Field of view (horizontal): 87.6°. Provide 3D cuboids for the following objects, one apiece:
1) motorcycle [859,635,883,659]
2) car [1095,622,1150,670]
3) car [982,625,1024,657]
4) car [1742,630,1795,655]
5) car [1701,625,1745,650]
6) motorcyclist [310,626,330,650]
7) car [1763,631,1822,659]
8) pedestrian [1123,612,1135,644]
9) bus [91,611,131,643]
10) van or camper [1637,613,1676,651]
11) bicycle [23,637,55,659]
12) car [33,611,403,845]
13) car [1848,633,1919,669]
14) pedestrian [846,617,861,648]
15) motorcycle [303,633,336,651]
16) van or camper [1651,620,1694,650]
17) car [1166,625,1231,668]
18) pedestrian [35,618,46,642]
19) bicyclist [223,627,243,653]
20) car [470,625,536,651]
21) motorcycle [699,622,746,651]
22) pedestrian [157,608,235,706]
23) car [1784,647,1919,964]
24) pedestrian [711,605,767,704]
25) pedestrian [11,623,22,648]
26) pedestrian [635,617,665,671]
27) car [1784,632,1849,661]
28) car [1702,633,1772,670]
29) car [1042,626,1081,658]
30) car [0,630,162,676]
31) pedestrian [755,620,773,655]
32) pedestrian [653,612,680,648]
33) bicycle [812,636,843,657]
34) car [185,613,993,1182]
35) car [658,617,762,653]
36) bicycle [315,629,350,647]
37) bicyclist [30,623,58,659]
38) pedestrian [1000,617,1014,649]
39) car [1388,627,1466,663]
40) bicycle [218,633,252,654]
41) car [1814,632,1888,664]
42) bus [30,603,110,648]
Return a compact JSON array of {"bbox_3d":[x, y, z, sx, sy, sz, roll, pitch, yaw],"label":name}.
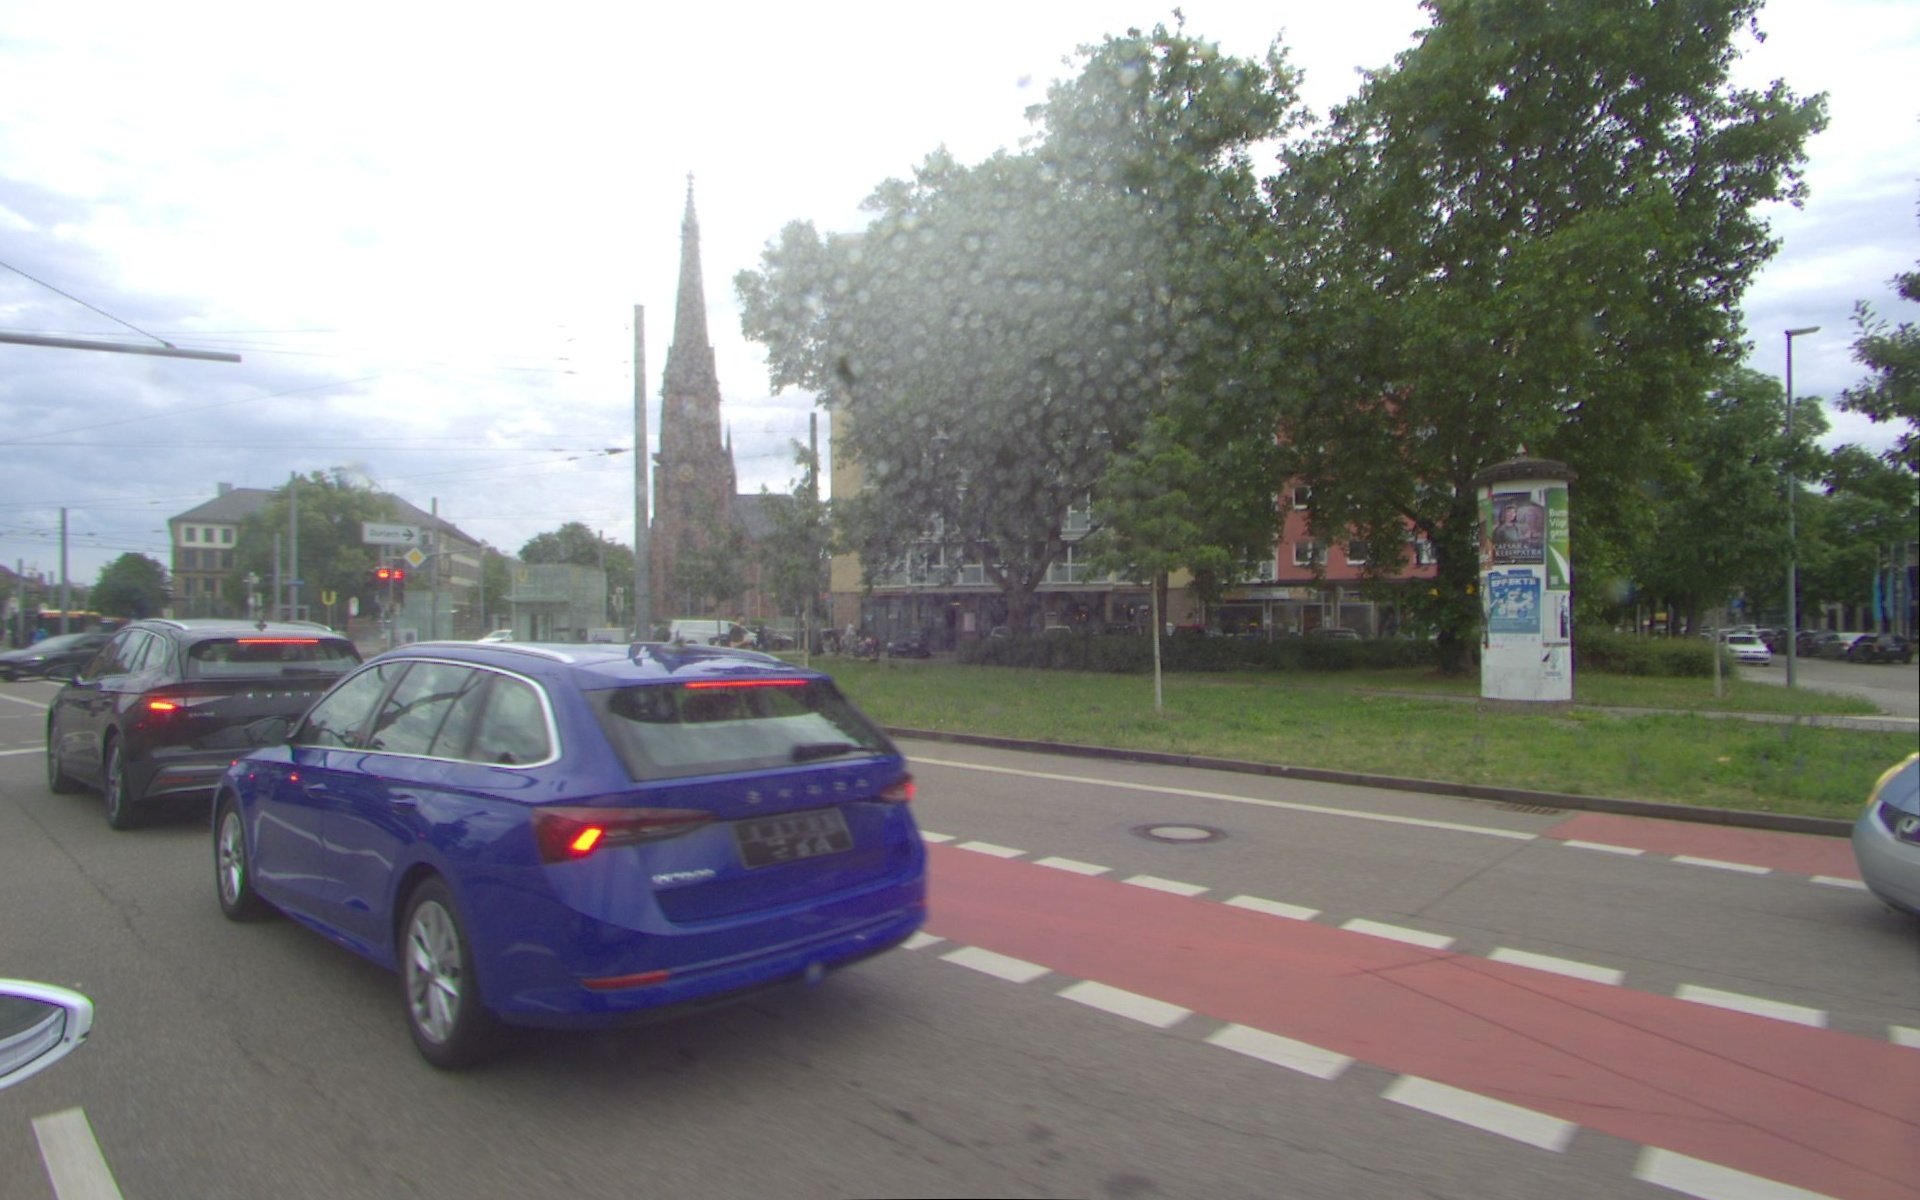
[{"bbox_3d":[-3.881,2.050,43.683,0.857,1.010,1.015,0,-1,4],"label":"motorcycle"},{"bbox_3d":[6.241,1.750,38.934,1.825,1.744,4.477,0,-2,6],"label":"car"},{"bbox_3d":[2.154,2.013,49.396,1.825,1.508,4.477,0,-2,6],"label":"car"},{"bbox_3d":[55.630,2.887,68.952,1.831,1.644,4.461,-2,-2,26],"label":"car"},{"bbox_3d":[64.604,3.177,84.884,1.991,2.011,4.767,-2,-2,26],"label":"car"},{"bbox_3d":[-43.975,2.602,68.818,0.735,1.671,0.980,-1,-1,9],"label":"motorcyclist"},{"bbox_3d":[53.536,2.877,64.486,1.831,1.644,4.461,-2,-2,26],"label":"car"},{"bbox_3d":[8.860,1.480,52.454,0.625,1.659,0.872,0,-1,9],"label":"pedestrian"},{"bbox_3d":[-93.202,2.936,110.063,2.630,3.325,10.914,0,-1,-37],"label":"bus"},{"bbox_3d":[52.968,2.440,76.216,1.969,2.808,3.984,0,-1,29],"label":"van or camper"},{"bbox_3d":[-48.065,2.510,52.253,2.272,1.119,0.863,-1,-2,37],"label":"bicycle"},{"bbox_3d":[-6.855,0.945,9.060,4.458,1.617,1.769,-1,-2,41],"label":"car"},{"bbox_3d":[46.493,2.516,50.168,1.831,1.644,4.461,-2,-2,26],"label":"car"},{"bbox_3d":[-5.798,1.780,54.475,0.625,1.659,0.787,0,-1,8],"label":"pedestrian"},{"bbox_3d":[-43.968,2.866,68.764,0.730,1.153,2.141,0,-1,9],"label":"motorcycle"},{"bbox_3d":[50.445,2.439,70.961,1.969,2.039,3.984,-1,-1,29],"label":"van or camper"},{"bbox_3d":[9.146,1.766,38.675,1.825,1.567,4.477,0,-2,6],"label":"car"},{"bbox_3d":[-75.347,2.488,82.069,0.616,1.943,0.693,0,-1,-39],"label":"pedestrian"},{"bbox_3d":[-46.923,2.589,64.657,0.643,1.694,0.855,0,-1,22],"label":"bicyclist"},{"bbox_3d":[-28.307,2.340,62.136,1.741,1.482,4.000,-2,-2,10],"label":"car"},{"bbox_3d":[-10.033,1.533,42.446,0.754,1.183,2.382,0,-2,20],"label":"motorcycle"},{"bbox_3d":[-15.440,1.138,20.269,0.721,1.931,1.105,0,-1,-1],"label":"pedestrian"},{"bbox_3d":[6.564,0.980,4.519,4.020,1.486,1.754,0,-1,12],"label":"car"},{"bbox_3d":[-4.225,1.044,19.194,0.967,1.868,0.537,0,0,-2],"label":"pedestrian"},{"bbox_3d":[-76.006,2.845,80.669,0.616,1.943,0.693,0,-1,-39],"label":"pedestrian"},{"bbox_3d":[-11.423,1.598,36.886,0.872,1.955,1.017,0,-1,-7],"label":"pedestrian"},{"bbox_3d":[51.350,2.767,60.093,1.831,1.644,4.461,-2,-2,26],"label":"car"},{"bbox_3d":[37.110,2.425,47.953,1.832,1.568,4.459,1,-1,28],"label":"car"},{"bbox_3d":[4.943,2.022,48.991,1.825,1.508,4.477,0,-2,6],"label":"car"},{"bbox_3d":[-29.101,1.695,33.072,1.666,1.414,4.393,0,-1,6],"label":"car"},{"bbox_3d":[-9.469,1.819,48.367,0.625,1.659,0.872,0,-1,8],"label":"pedestrian"},{"bbox_3d":[-15.364,1.577,52.422,1.067,1.820,0.947,-1,-1,9],"label":"pedestrian"},{"bbox_3d":[-5.933,2.066,44.939,1.241,0.929,0.594,0,-1,11],"label":"bicycle"},{"bbox_3d":[-2.099,0.860,4.801,4.415,1.507,1.771,-2,-2,41],"label":"car"},{"bbox_3d":[-14.854,2.070,59.626,5.657,2.039,2.018,0,-2,-31],"label":"car"},{"bbox_3d":[-49.269,2.969,78.585,2.245,1.348,0.701,0,-2,-42],"label":"bicycle"},{"bbox_3d":[-47.901,2.129,52.361,1.034,1.875,0.869,-1,-1,36],"label":"bicyclist"},{"bbox_3d":[2.465,1.756,52.726,0.625,1.659,0.872,0,-1,9],"label":"pedestrian"},{"bbox_3d":[21.610,2.046,46.538,1.825,1.567,4.477,0,-2,4],"label":"car"},{"bbox_3d":[-46.872,2.789,64.771,0.634,1.339,1.732,0,-1,22],"label":"bicycle"},{"bbox_3d":[49.159,2.643,55.344,1.831,1.644,4.461,-2,-2,26],"label":"car"},{"bbox_3d":[-66.763,1.929,75.379,2.931,3.163,11.467,0,-2,-34],"label":"bus"}]
